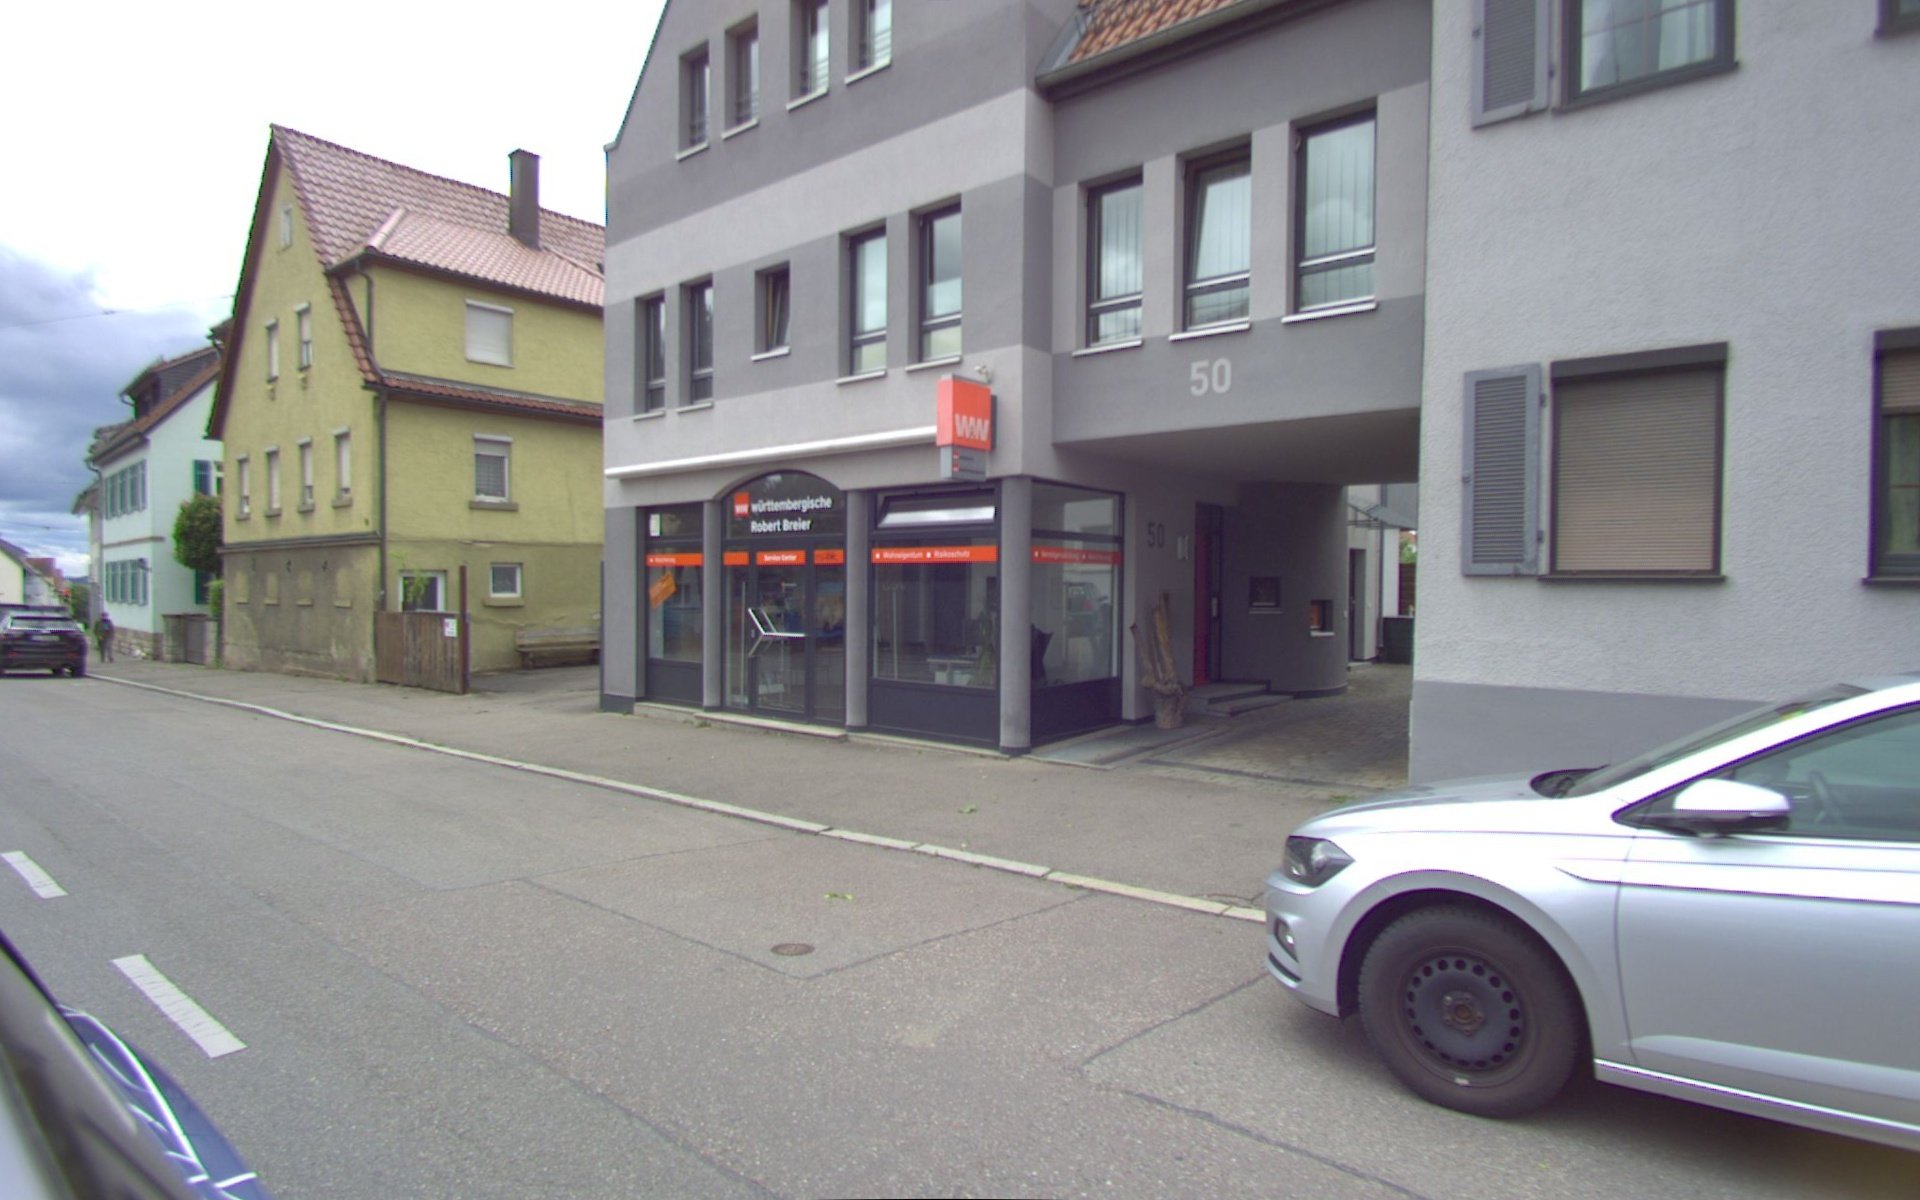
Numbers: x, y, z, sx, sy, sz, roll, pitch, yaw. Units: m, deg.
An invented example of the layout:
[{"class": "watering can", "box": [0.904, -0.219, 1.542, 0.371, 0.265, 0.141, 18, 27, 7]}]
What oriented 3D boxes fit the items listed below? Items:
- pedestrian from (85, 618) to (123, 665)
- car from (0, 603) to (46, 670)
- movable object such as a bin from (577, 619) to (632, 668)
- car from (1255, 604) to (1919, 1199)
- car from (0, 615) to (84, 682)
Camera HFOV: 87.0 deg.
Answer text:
[{"class": "pedestrian", "box": [-26.196, 1.260, 30.980, 0.551, 1.386, 0.821, -1, -1, 41]}, {"class": "car", "box": [-28.594, 1.061, 29.636, 4.348, 1.863, 2.085, -1, -2, 40]}, {"class": "movable object such as a bin", "box": [-8.172, 0.980, 23.288, 0.839, 1.081, 0.914, -1, -1, 41]}, {"class": "car", "box": [3.226, 0.794, 2.727, 4.347, 1.485, 1.760, -1, -4, 39]}, {"class": "car", "box": [-23.682, 1.178, 25.544, 4.348, 1.580, 1.696, -1, -2, 40]}]
